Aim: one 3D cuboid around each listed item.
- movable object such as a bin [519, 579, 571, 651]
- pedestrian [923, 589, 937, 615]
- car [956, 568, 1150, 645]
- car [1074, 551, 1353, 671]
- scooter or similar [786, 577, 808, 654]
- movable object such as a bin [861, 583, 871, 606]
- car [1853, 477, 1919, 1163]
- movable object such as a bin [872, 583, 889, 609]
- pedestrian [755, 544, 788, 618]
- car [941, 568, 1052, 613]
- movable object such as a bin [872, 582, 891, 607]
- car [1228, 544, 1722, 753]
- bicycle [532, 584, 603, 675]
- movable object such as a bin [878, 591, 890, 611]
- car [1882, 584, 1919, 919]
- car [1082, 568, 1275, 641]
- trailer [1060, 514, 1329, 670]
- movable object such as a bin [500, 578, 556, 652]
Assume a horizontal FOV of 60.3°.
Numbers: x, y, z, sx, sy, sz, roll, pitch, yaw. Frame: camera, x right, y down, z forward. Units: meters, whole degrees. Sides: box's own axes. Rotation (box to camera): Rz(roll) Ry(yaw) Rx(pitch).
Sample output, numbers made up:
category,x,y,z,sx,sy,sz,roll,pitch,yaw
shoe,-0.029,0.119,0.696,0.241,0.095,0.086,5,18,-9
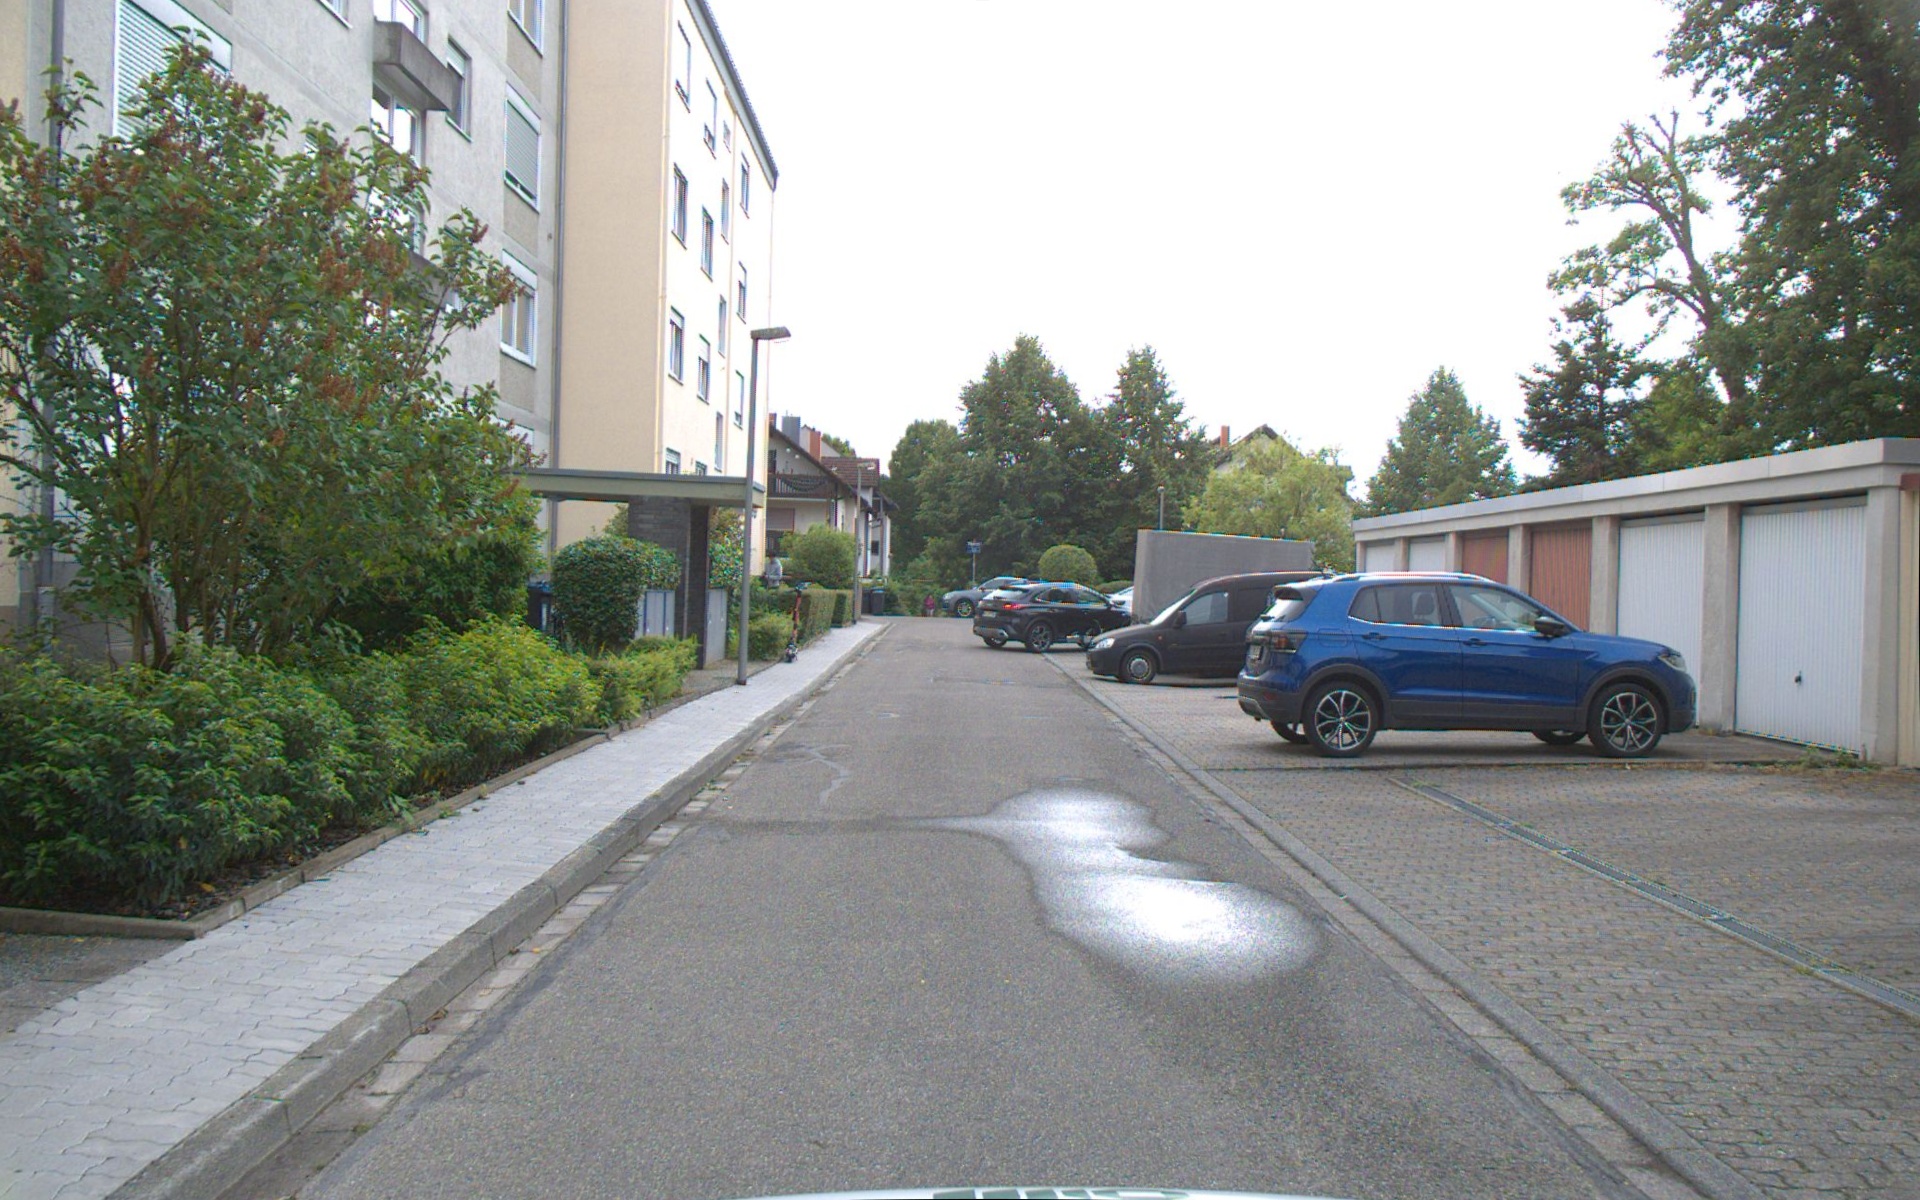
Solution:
category,x,y,z,sx,sy,sz,roll,pitch,yaw
movable object such as a bin,-6.195,0.217,24.722,0.611,1.052,0.589,1,1,-1
pedestrian,-1.840,0.144,100.257,0.799,1.544,0.438,1,0,-3
car,2.081,0.102,36.640,3.954,1.579,1.976,-1,1,-35
car,4.072,0.152,27.093,4.223,1.833,2.000,-1,1,-1
scooter or similar,-2.692,0.248,27.356,0.267,1.232,1.164,1,1,-1
movable object such as a bin,-3.790,-0.207,66.836,0.378,0.905,0.379,2,0,-3
car,4.518,0.548,3.576,4.110,1.757,2.000,-1,1,-1
movable object such as a bin,-3.126,-0.164,65.321,0.625,0.970,0.723,2,0,-2
pedestrian,-4.635,-0.474,40.680,0.665,1.779,0.756,2,0,-3
car,1.388,-0.349,63.309,4.151,1.558,1.747,2,-1,-1
movable object such as a bin,-3.126,-0.208,66.078,0.719,0.970,0.584,2,0,-1
car,4.601,0.398,15.221,3.906,1.733,2.000,-1,1,-1
bicycle,-4.868,0.349,20.589,0.444,1.052,1.547,3,1,1
movable object such as a bin,-3.072,0.033,67.232,0.450,0.811,0.379,2,0,-3
car,6.070,0.655,6.601,3.681,1.471,2.000,-1,1,-1
car,5.265,0.087,40.277,4.443,1.616,1.988,1,1,1
trailer,4.152,-0.157,29.824,4.515,2.569,1.942,2,1,0
movable object such as a bin,-6.233,0.212,23.871,0.525,1.037,0.580,2,1,21
